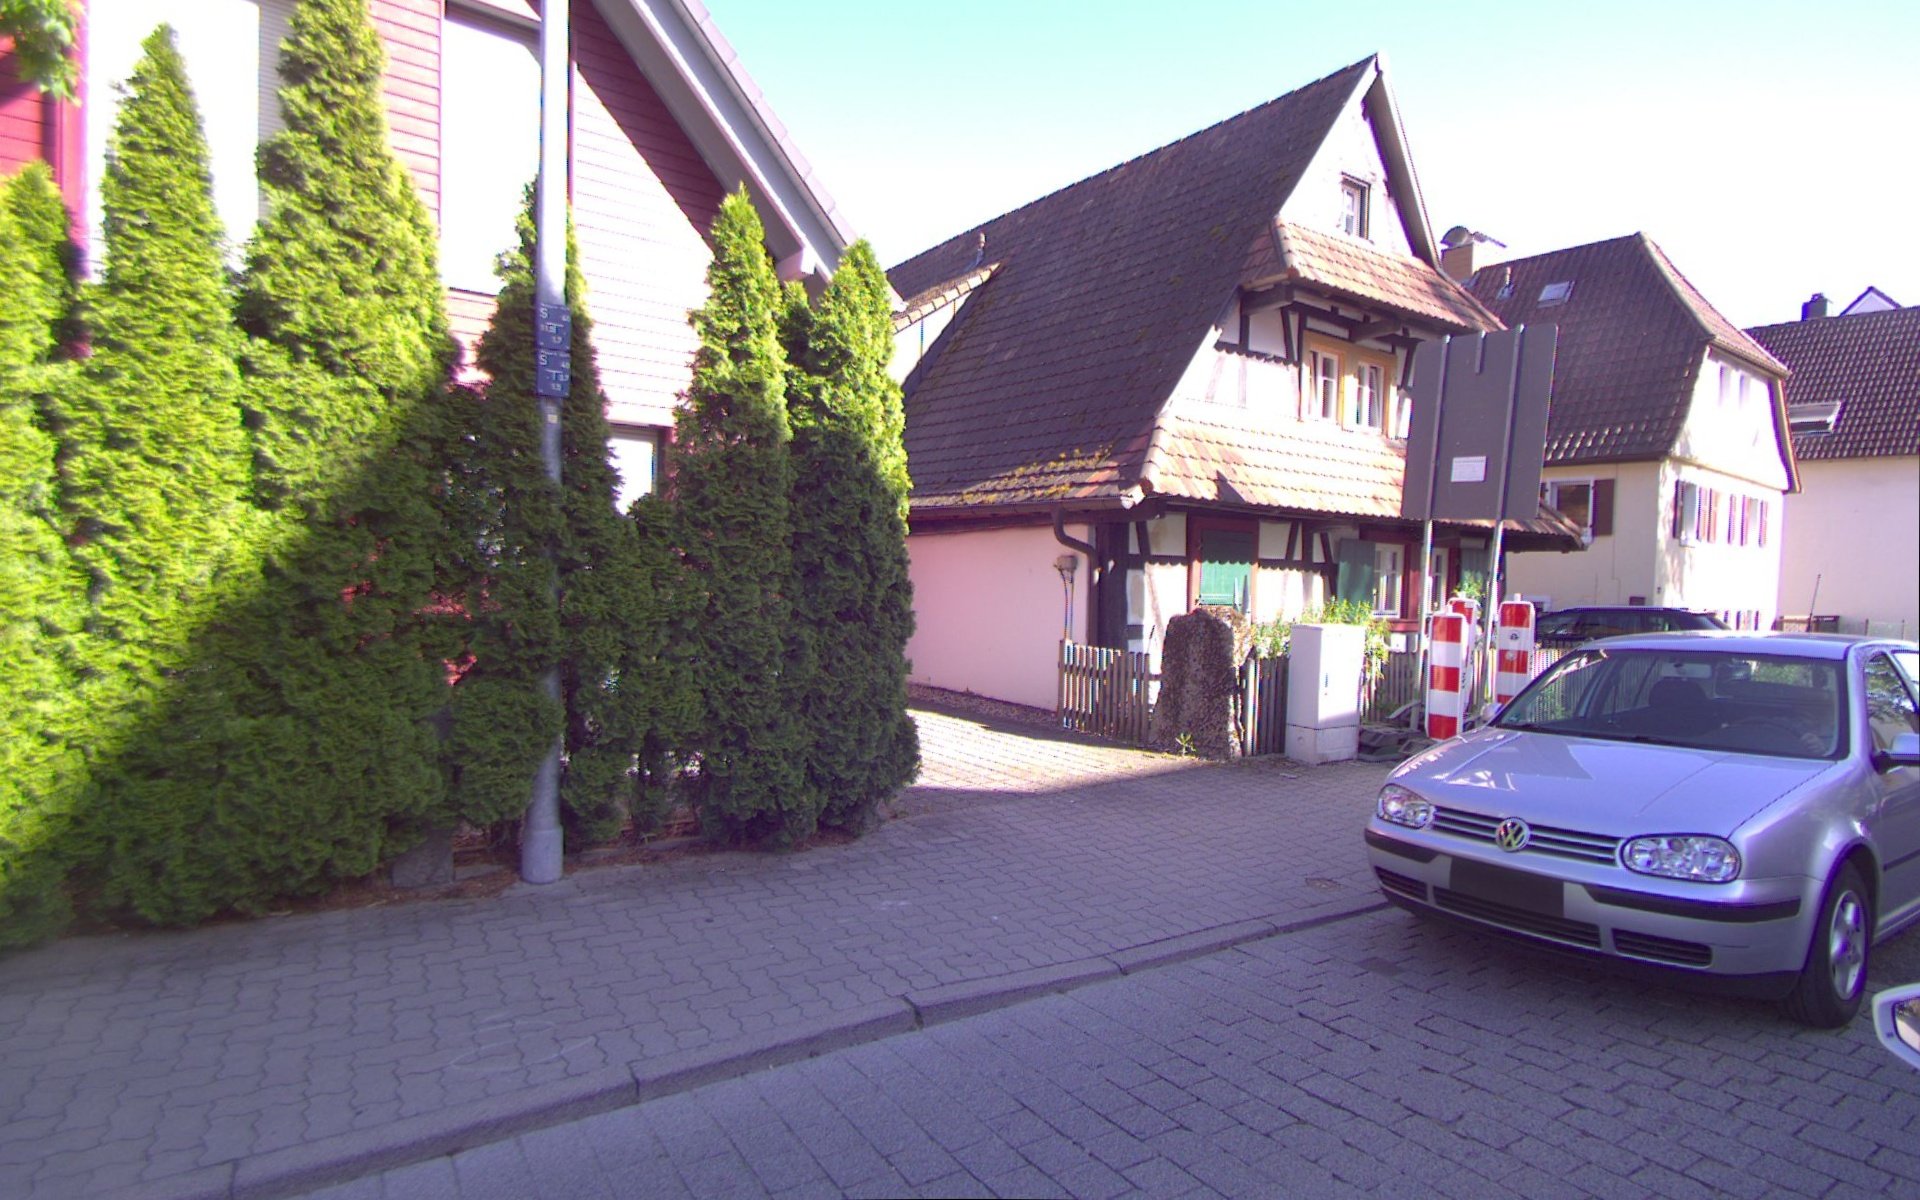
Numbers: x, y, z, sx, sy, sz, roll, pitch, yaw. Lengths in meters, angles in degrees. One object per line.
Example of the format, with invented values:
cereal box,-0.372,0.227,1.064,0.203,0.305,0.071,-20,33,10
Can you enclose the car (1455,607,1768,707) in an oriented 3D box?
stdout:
car,10.913,0.866,17.070,1.832,1.481,4.126,0,0,-38

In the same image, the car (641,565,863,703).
car,-2.926,0.321,13.433,1.795,1.522,3.968,0,2,-29

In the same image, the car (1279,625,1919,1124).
car,3.439,0.857,4.750,3.852,1.421,1.660,1,0,-34
